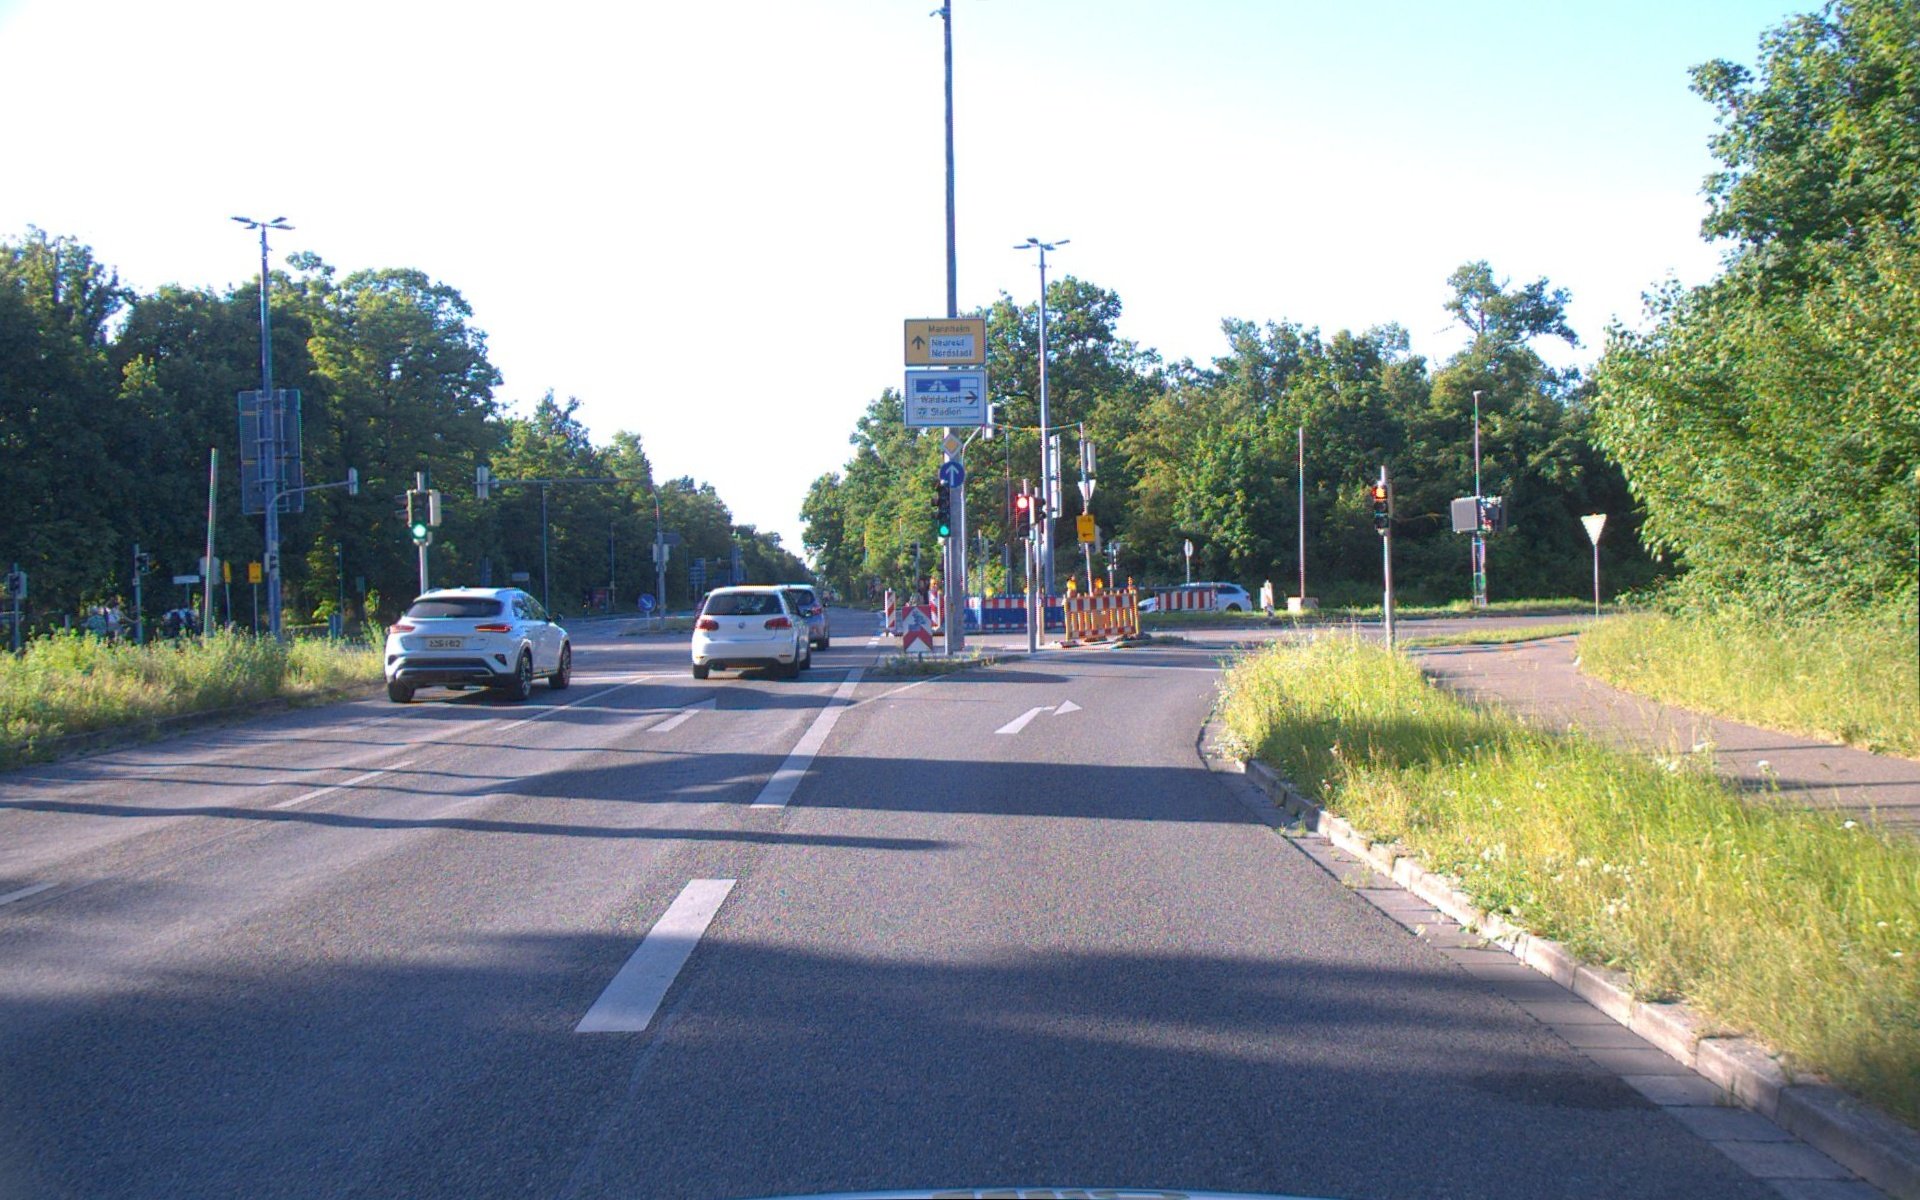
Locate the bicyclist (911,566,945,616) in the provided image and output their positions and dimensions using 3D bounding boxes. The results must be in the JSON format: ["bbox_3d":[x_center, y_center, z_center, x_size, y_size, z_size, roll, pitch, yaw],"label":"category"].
[{"bbox_3d":[-1.278,-0.346,65.451,1.004,1.963,0.957,-1,0,-34],"label":"bicyclist"}]

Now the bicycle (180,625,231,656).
[{"bbox_3d":[-24.235,1.293,53.184,0.700,0.930,1.911,-2,0,1],"label":"bicycle"}]

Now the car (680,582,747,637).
[{"bbox_3d":[-8.134,0.291,54.763,1.955,1.714,3.995,-2,0,-6],"label":"car"}]

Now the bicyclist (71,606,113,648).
[{"bbox_3d":[-26.355,0.815,50.253,0.700,1.213,0.990,-2,0,1],"label":"bicyclist"}]

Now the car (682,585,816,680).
[{"bbox_3d":[-3.514,0.498,28.182,1.901,1.439,3.998,-2,0,-3],"label":"car"}]

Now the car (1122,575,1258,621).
[{"bbox_3d":[8.680,-0.083,62.365,4.754,1.608,1.985,-2,0,-24],"label":"car"}]

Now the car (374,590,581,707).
[{"bbox_3d":[-6.636,0.604,23.196,1.826,1.469,3.999,-1,0,-2],"label":"car"}]

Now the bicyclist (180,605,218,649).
[{"bbox_3d":[-24.259,0.849,52.723,0.700,1.365,0.990,-2,0,1],"label":"bicyclist"}]

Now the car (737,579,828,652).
[{"bbox_3d":[-4.133,0.332,38.703,1.955,1.563,3.995,-2,0,-6],"label":"car"}]

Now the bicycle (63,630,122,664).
[{"bbox_3d":[-26.337,1.418,50.255,0.700,0.930,1.911,-2,1,1],"label":"bicycle"}]

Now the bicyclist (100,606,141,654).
[{"bbox_3d":[-25.463,0.910,50.174,0.696,1.414,0.990,-2,0,1],"label":"bicyclist"}]

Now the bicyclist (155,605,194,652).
[{"bbox_3d":[-24.253,0.875,51.086,0.700,1.379,0.990,-2,0,1],"label":"bicyclist"}]

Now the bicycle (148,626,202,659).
[{"bbox_3d":[-24.242,1.316,51.091,0.700,0.930,1.911,-2,0,1],"label":"bicycle"}]

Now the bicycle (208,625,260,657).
[{"bbox_3d":[-22.399,1.256,51.083,0.700,0.930,1.911,-2,0,1],"label":"bicycle"}]

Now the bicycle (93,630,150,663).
[{"bbox_3d":[-25.444,1.399,50.210,0.700,0.930,1.911,-2,0,1],"label":"bicycle"}]

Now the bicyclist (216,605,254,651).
[{"bbox_3d":[-22.406,0.855,51.140,0.700,1.362,0.990,-2,0,1],"label":"bicyclist"}]
